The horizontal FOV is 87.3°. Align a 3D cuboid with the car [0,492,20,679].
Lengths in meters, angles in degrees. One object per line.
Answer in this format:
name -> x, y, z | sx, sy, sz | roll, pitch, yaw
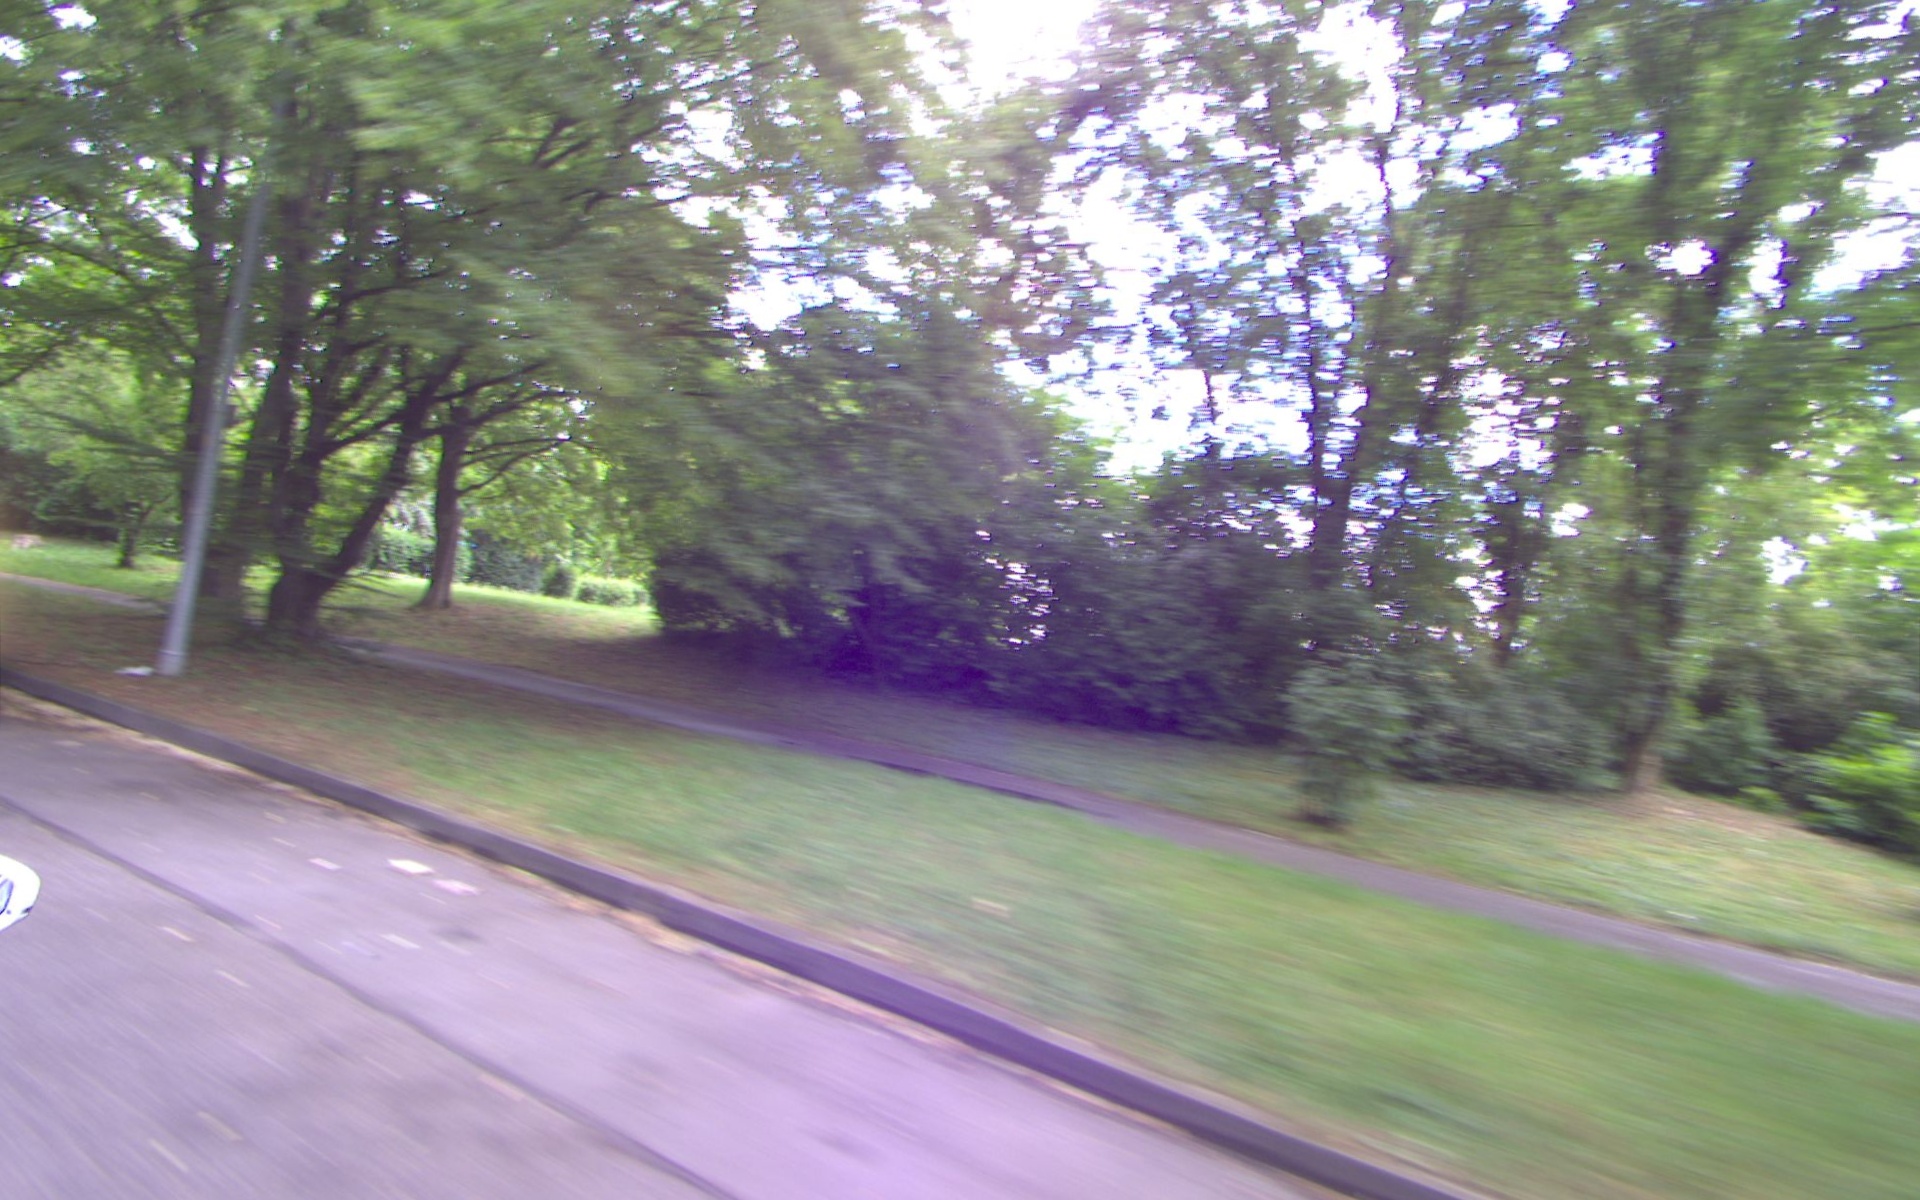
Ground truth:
car -> -9.465, -0.337, 7.886 | 3.879, 1.449, 1.722 | 6, -1, 26
